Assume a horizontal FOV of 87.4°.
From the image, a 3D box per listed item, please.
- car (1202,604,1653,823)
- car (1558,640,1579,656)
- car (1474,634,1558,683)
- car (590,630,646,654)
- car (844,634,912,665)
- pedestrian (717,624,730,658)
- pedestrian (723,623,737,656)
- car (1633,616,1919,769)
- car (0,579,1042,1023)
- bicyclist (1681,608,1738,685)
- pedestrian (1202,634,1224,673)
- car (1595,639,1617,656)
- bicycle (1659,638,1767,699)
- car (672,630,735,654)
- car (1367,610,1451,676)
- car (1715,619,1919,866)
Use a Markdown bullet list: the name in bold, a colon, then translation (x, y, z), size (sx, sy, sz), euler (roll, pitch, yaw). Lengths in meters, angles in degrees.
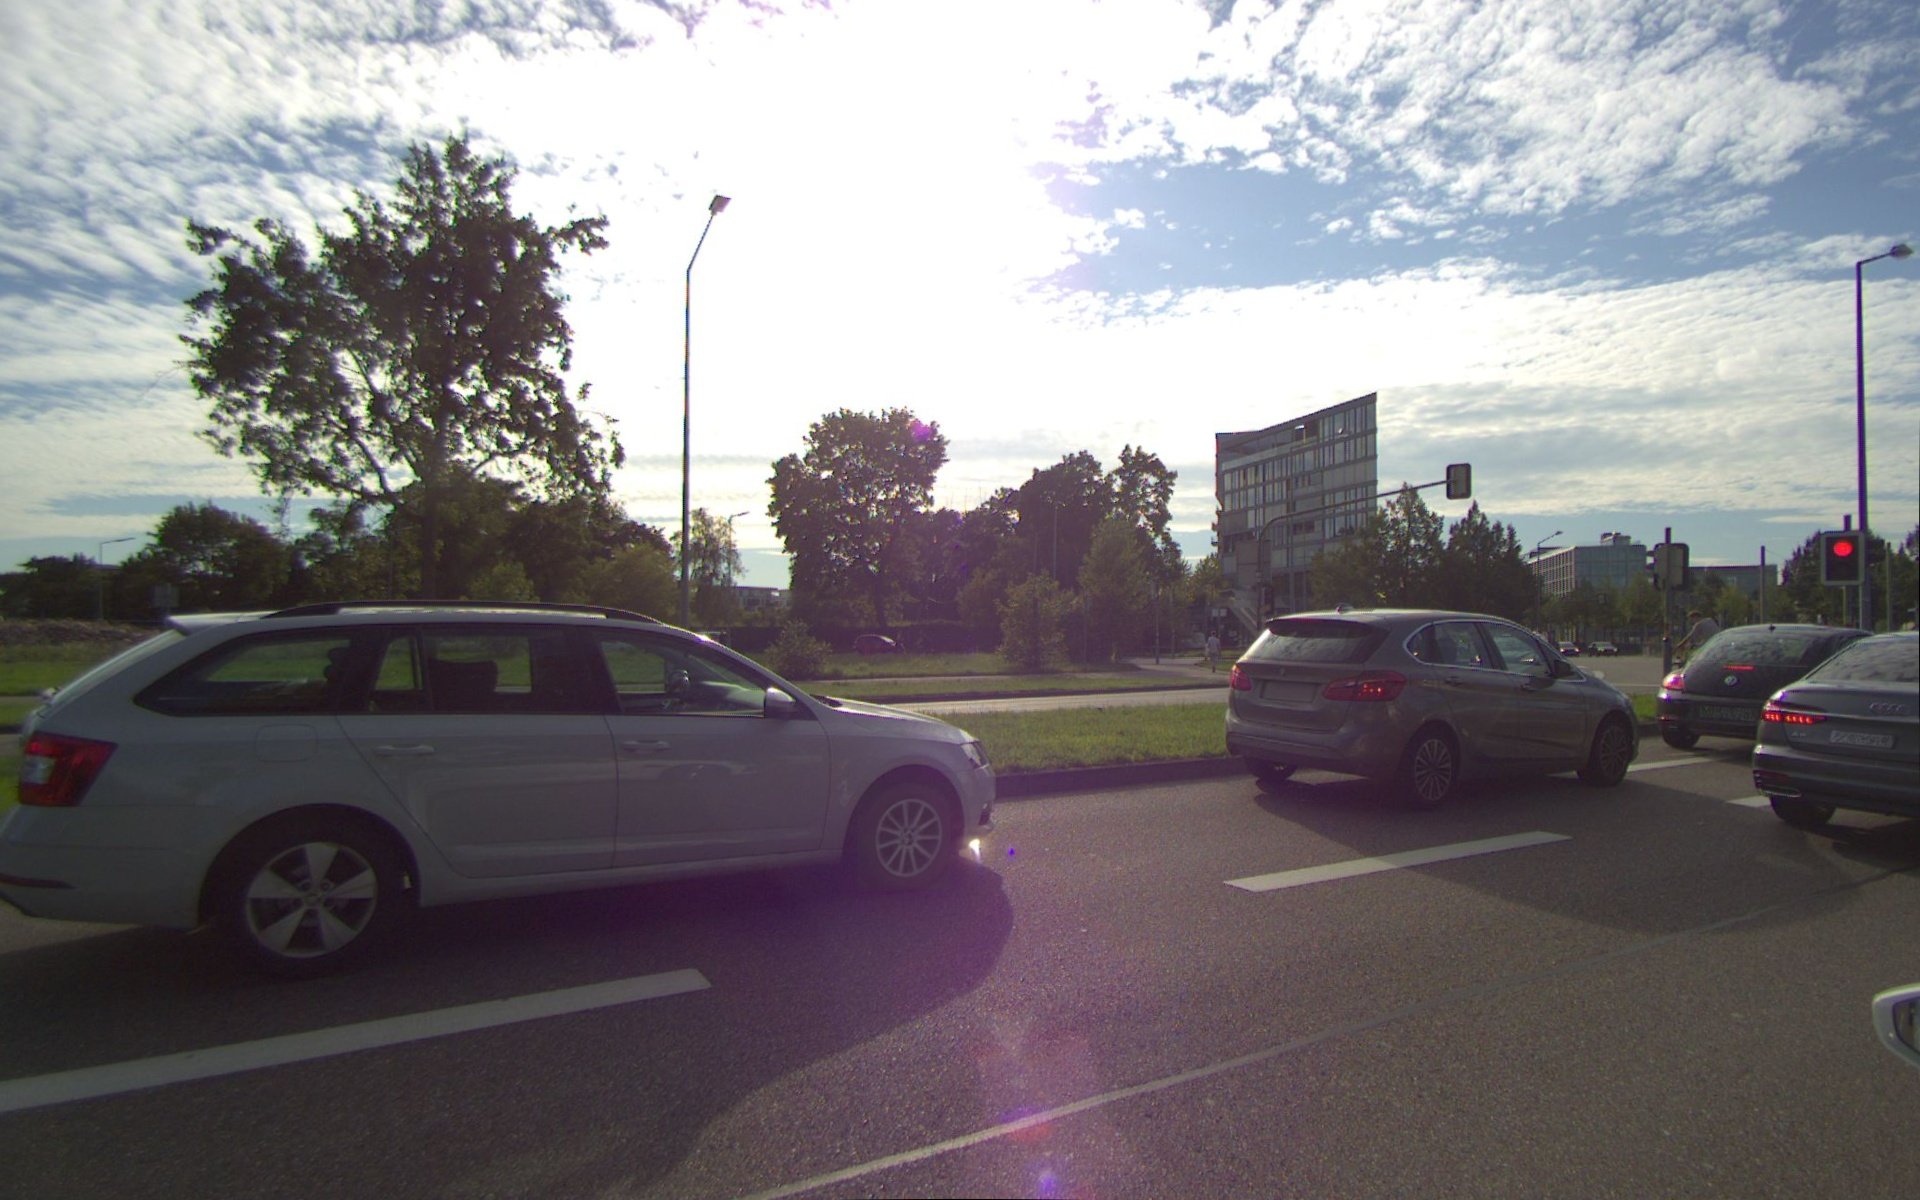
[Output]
- **car**: translation (4.256, 0.870, 9.022), size (3.971, 1.579, 1.721), euler (1, -1, -30)
- **car**: translation (58.865, 4.695, 97.198), size (1.570, 1.433, 3.661), euler (-3, -5, 33)
- **car**: translation (17.989, 1.891, 32.391), size (1.876, 1.428, 4.194), euler (-4, -5, 35)
- **car**: translation (-24.052, 2.953, 70.603), size (3.431, 1.613, 1.594), euler (-1, -2, 17)
- **car**: translation (-5.265, 3.155, 64.707), size (3.919, 1.793, 1.712), euler (2, -1, 13)
- **pedestrian**: translation (-14.298, 2.457, 60.692), size (0.675, 2.040, 0.641), euler (0, -2, -5)
- **pedestrian**: translation (-14.096, 2.429, 61.535), size (0.723, 2.040, 0.739), euler (0, -2, -6)
- **car**: translation (9.866, 0.994, 11.927), size (3.766, 1.543, 1.672), euler (1, -1, -31)
- **car**: translation (-1.874, 0.753, 5.263), size (4.429, 1.518, 1.690), euler (2, -1, -31)
- **bicyclist**: translation (15.448, 0.948, 20.696), size (0.840, 1.546, 0.736), euler (-2, -2, 44)
- **pedestrian**: translation (10.252, 2.162, 40.724), size (0.611, 1.589, 0.649), euler (2, -2, -40)
- **car**: translation (62.105, 4.539, 96.569), size (1.592, 1.484, 3.724), euler (-1, -2, 30)
- **bicycle**: translation (15.468, 1.391, 20.669), size (1.707, 1.179, 0.652), euler (-1, -2, 45)
- **car**: translation (-18.979, 3.114, 74.378), size (4.045, 1.770, 2.002), euler (0, -2, 10)
- **car**: translation (16.854, 1.628, 37.529), size (1.966, 2.264, 5.910), euler (-2, -4, 33)
- **car**: translation (7.793, 0.948, 7.478), size (4.559, 1.502, 1.881), euler (2, -1, -31)
